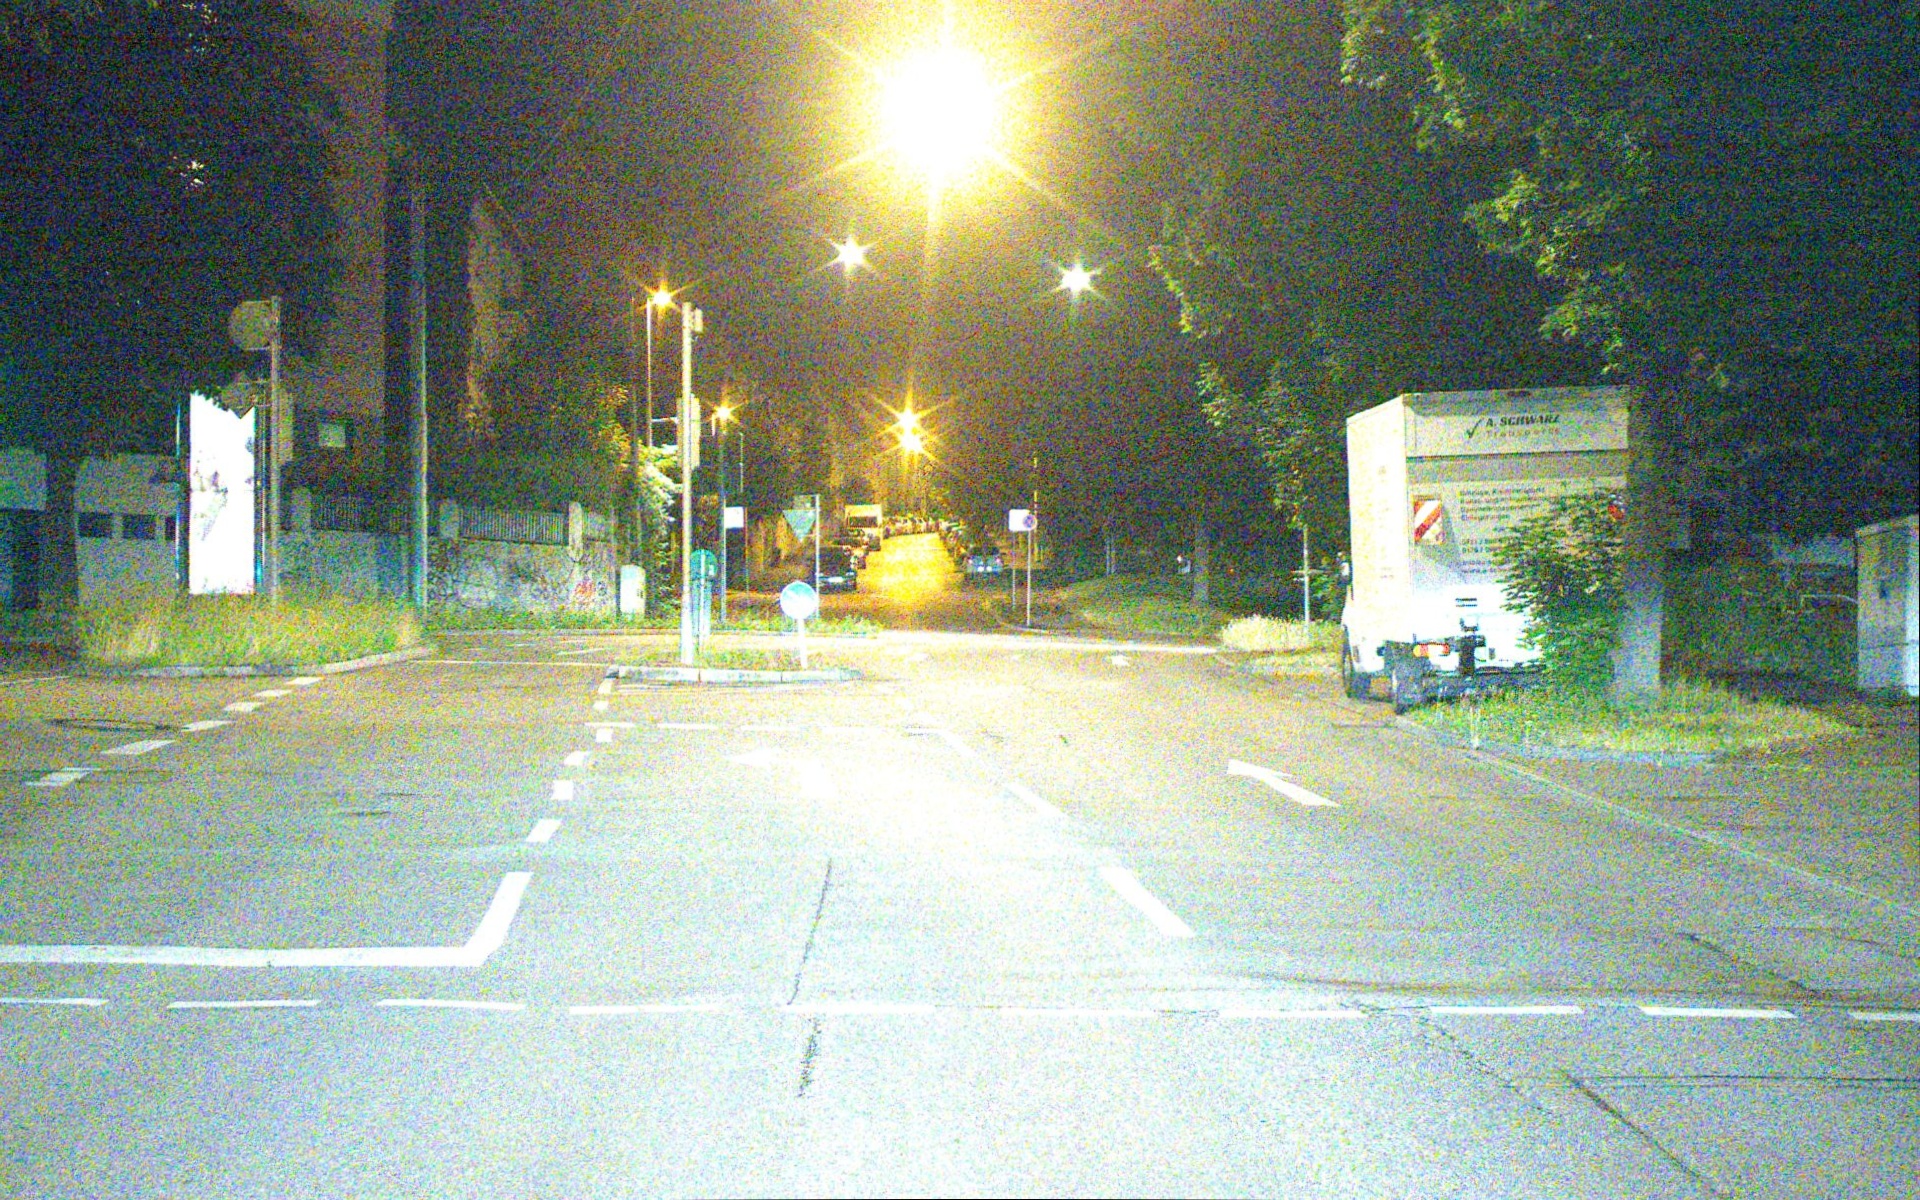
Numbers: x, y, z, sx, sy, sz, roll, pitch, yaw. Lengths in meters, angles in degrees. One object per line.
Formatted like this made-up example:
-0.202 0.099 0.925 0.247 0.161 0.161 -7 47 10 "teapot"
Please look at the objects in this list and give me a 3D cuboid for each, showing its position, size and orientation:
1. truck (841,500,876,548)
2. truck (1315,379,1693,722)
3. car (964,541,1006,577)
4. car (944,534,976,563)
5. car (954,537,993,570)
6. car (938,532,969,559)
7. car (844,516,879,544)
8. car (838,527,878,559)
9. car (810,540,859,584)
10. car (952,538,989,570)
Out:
-6.201 -4.598 209.573 2.086 2.838 5.832 1 1 -2 "truck"
5.304 -0.504 34.615 2.749 3.100 6.258 1 1 0 "truck"
1.036 -1.717 143.354 1.634 1.447 3.485 1 1 -1 "car"
-0.007 -2.668 178.509 1.634 1.447 3.485 1 1 -1 "car"
0.598 -2.076 153.087 1.634 1.447 3.485 1 1 -1 "car"
-0.365 -3.045 191.478 1.634 1.447 3.485 1 1 -1 "car"
-5.358 -3.787 186.943 1.815 1.486 4.000 1 1 -2 "car"
-4.781 -2.661 160.561 1.815 1.486 4.000 1 1 -2 "car"
-4.890 -1.502 134.441 1.815 1.678 4.000 1 1 -1 "car"
0.462 -2.128 159.272 1.634 1.447 3.485 1 1 -1 "car"
